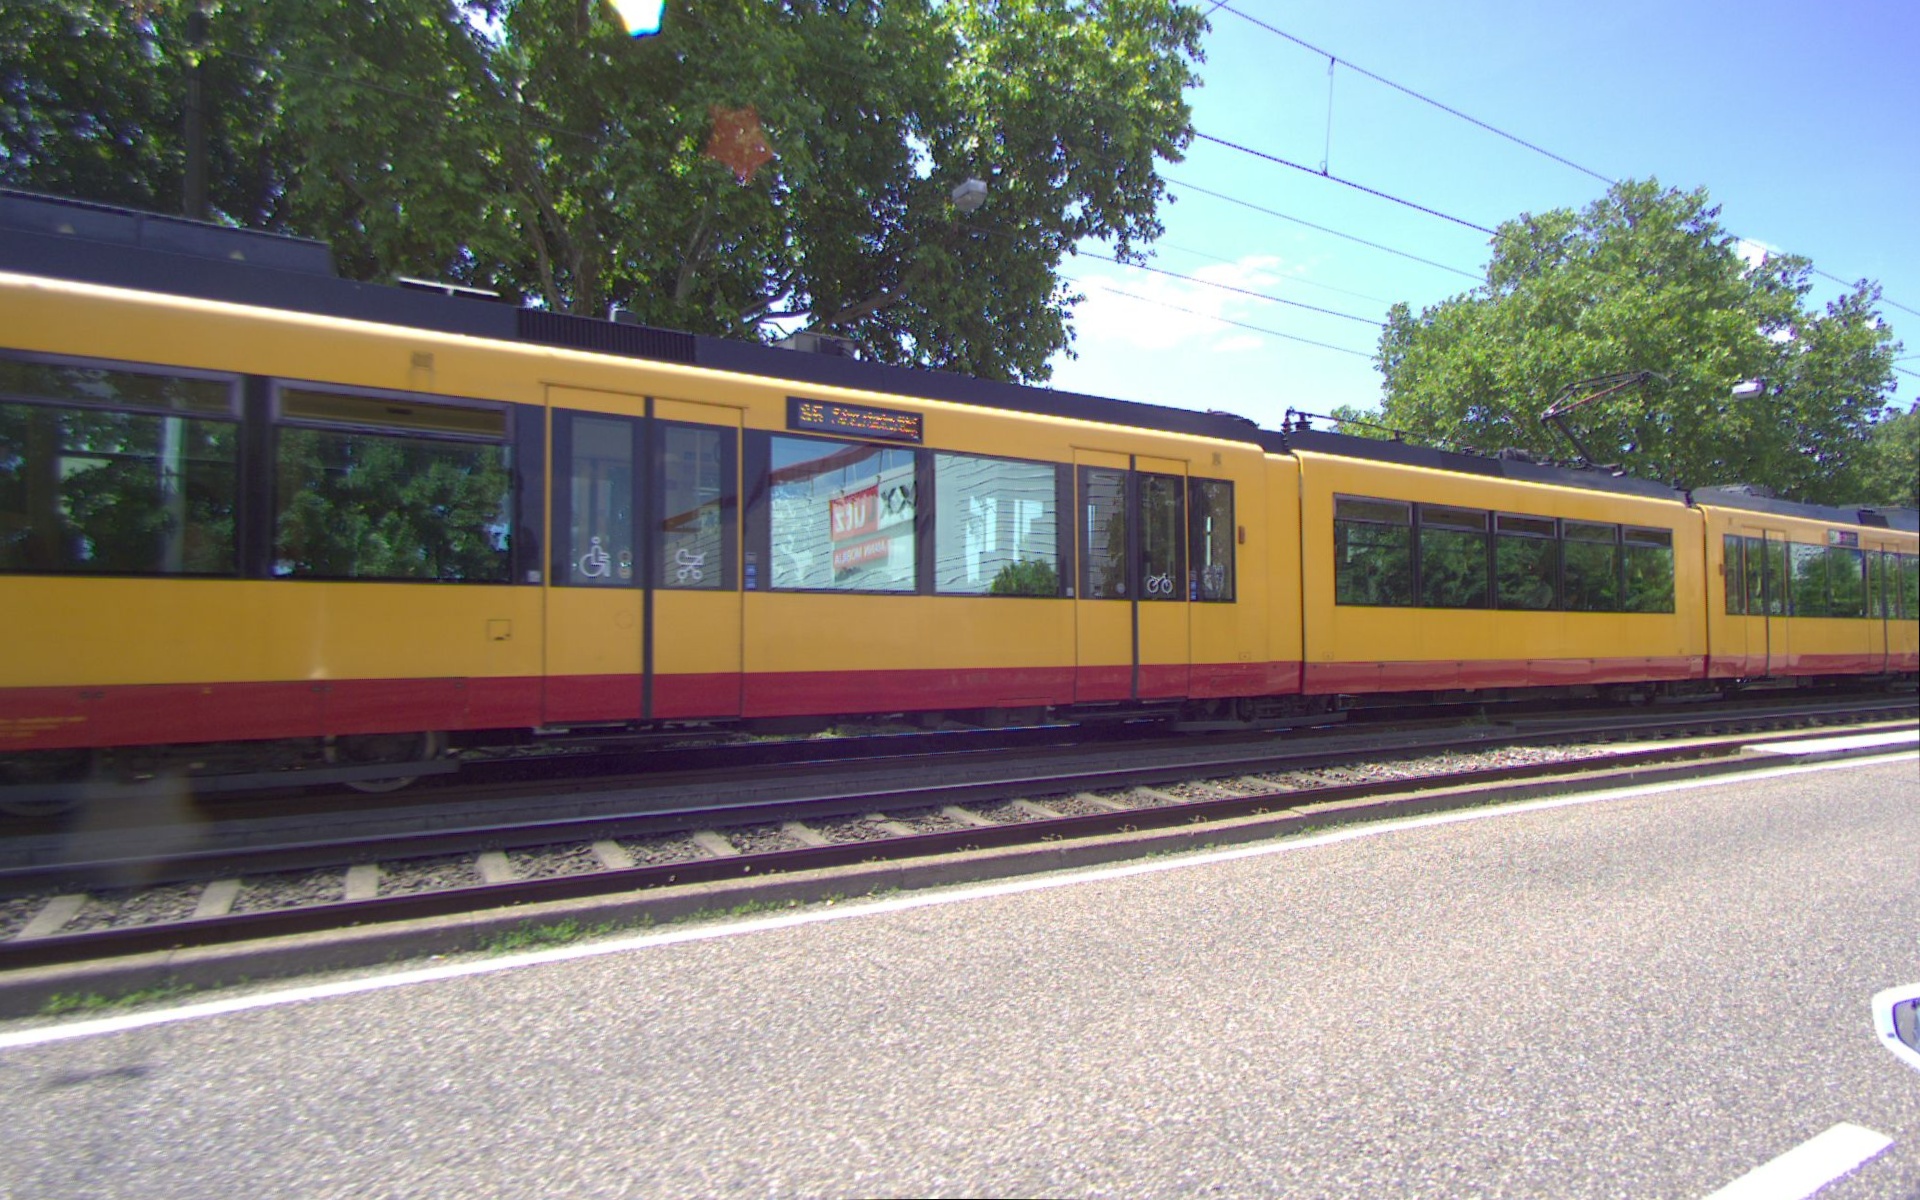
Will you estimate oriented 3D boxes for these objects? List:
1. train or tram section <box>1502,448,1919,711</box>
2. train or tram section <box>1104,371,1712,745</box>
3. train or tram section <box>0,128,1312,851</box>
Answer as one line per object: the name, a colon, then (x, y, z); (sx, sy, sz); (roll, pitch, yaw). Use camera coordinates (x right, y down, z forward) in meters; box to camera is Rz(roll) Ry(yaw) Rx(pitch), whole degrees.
train or tram section: (16.809, -0.200, 20.691); (13.812, 4.196, 3.025); (1, -1, -29)
train or tram section: (7.117, -0.376, 15.131); (10.111, 4.203, 3.024); (1, -1, -30)
train or tram section: (-2.426, -0.555, 9.498); (13.325, 4.210, 3.023); (1, -1, -31)
